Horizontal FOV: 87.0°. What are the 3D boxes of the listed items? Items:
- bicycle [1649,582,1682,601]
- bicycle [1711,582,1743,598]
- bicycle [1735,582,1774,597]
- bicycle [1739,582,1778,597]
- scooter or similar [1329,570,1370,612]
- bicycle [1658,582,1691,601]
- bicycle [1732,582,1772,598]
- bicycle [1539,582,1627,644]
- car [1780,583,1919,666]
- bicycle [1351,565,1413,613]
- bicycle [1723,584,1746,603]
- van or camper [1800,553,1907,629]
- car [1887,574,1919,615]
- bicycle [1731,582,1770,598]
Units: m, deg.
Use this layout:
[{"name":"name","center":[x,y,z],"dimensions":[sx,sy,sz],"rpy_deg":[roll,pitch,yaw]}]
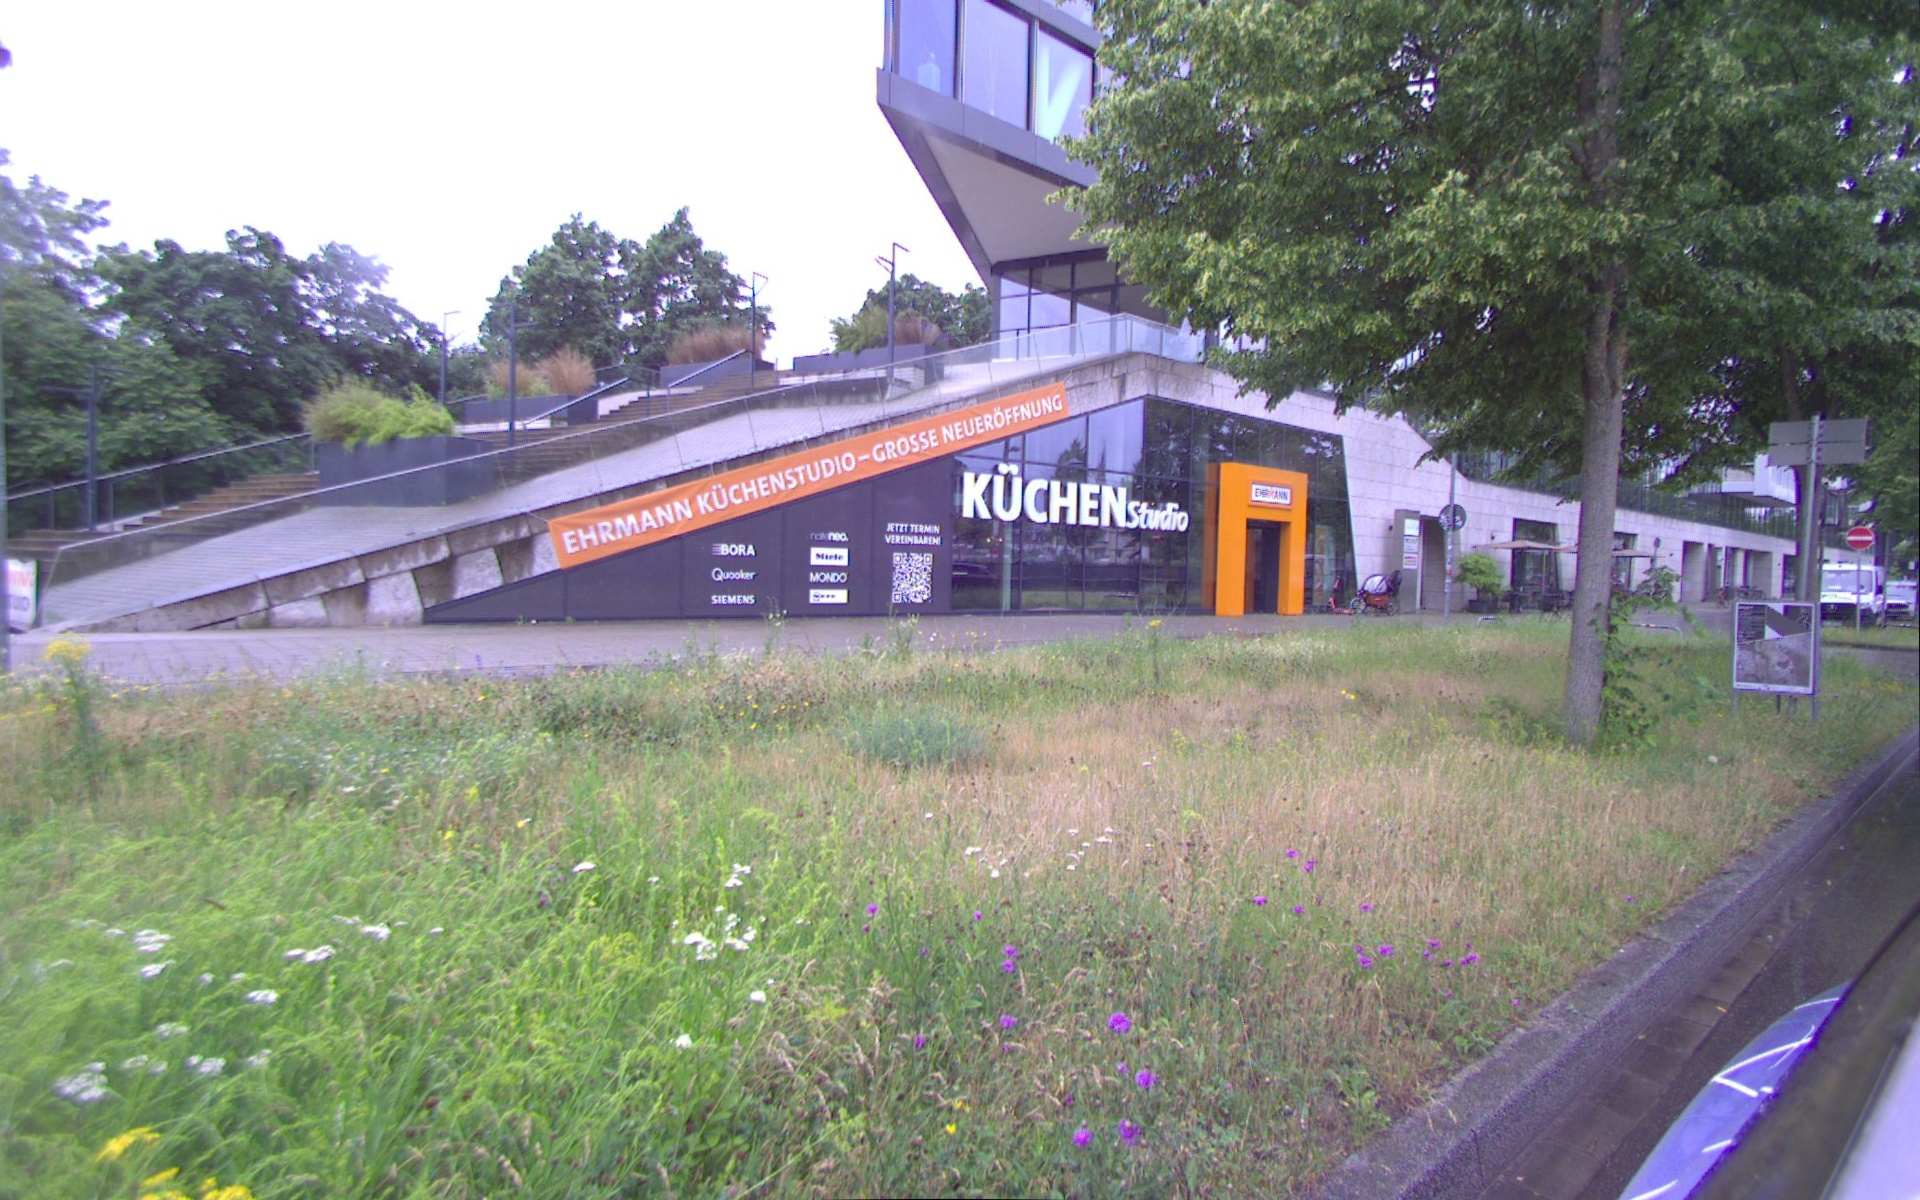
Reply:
[{"name":"bicycle","center":[36.615,-0.437,52.549],"dimensions":[0.388,0.958,2.028],"rpy_deg":[-1,1,4]},{"name":"bicycle","center":[49.450,-0.656,65.250],"dimensions":[0.339,0.957,1.665],"rpy_deg":[0,3,-22]},{"name":"bicycle","center":[53.907,-0.720,68.698],"dimensions":[0.389,0.957,2.025],"rpy_deg":[-1,4,-45]},{"name":"bicycle","center":[54.834,-0.726,69.508],"dimensions":[0.389,0.957,2.025],"rpy_deg":[-1,4,-45]},{"name":"scooter or similar","center":[11.793,-0.286,30.641],"dimensions":[1.214,1.243,0.343],"rpy_deg":[-1,0,-22]},{"name":"bicycle","center":[37.226,-0.447,52.715],"dimensions":[0.388,0.958,2.028],"rpy_deg":[-1,1,4]},{"name":"bicycle","center":[53.092,-0.691,67.869],"dimensions":[0.389,0.957,2.025],"rpy_deg":[-1,4,-45]},{"name":"bicycle","center":[14.584,0.282,23.751],"dimensions":[0.521,1.363,1.852],"rpy_deg":[2,1,-16]},{"name":"car","center":[18.050,0.430,19.123],"dimensions":[1.800,1.437,4.341],"rpy_deg":[1,2,5]},{"name":"bicycle","center":[13.246,-0.350,31.729],"dimensions":[2.382,1.419,0.734],"rpy_deg":[0,3,-41]},{"name":"bicycle","center":[40.611,-0.353,53.050],"dimensions":[1.823,0.957,0.403],"rpy_deg":[-1,2,-34]},{"name":"van or camper","center":[29.614,-0.352,33.480],"dimensions":[5.367,2.320,2.028],"rpy_deg":[-1,2,-42]},{"name":"car","center":[43.448,-0.261,45.793],"dimensions":[4.766,1.781,1.744],"rpy_deg":[-1,2,-42]},{"name":"bicycle","center":[52.663,-0.683,67.428],"dimensions":[0.389,0.957,2.025],"rpy_deg":[-1,4,-45]}]
